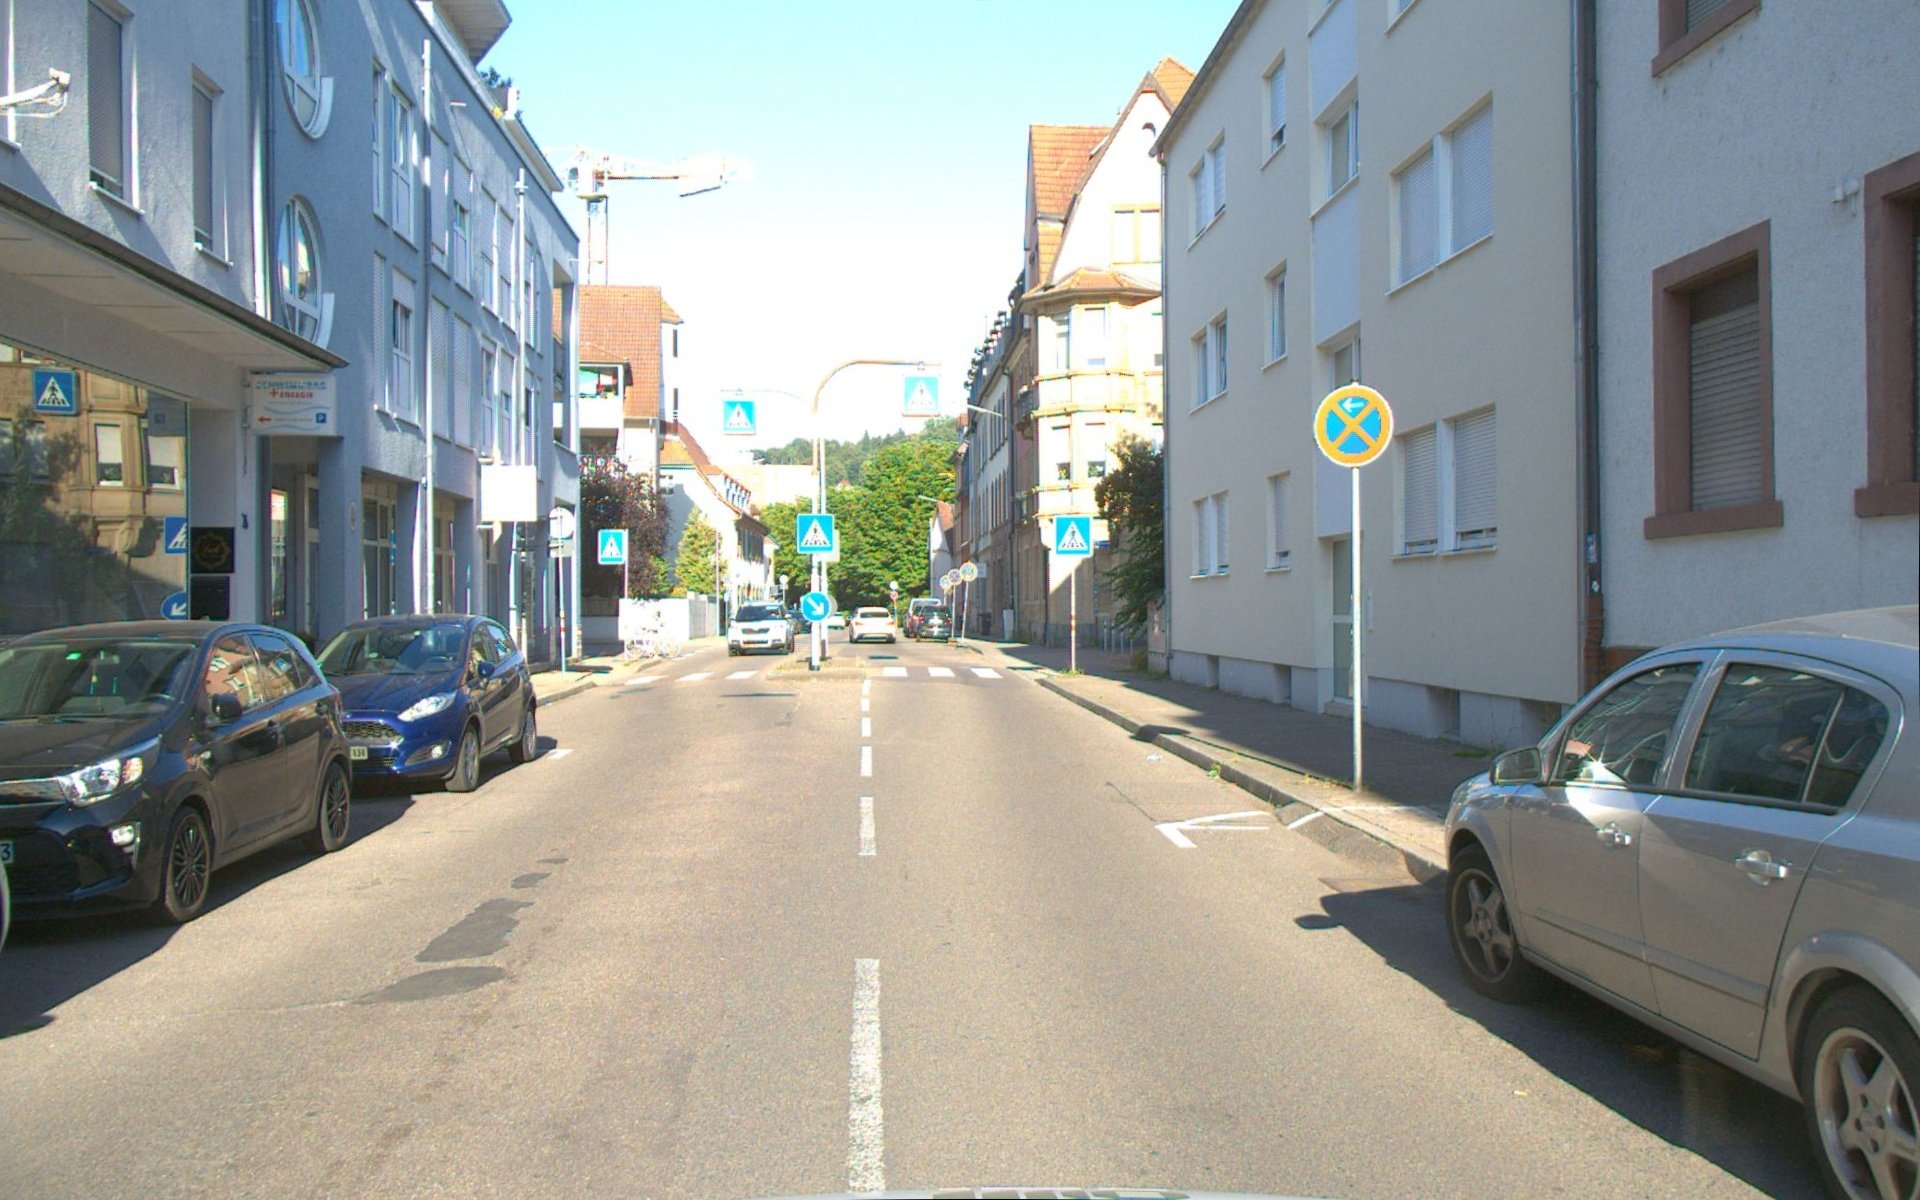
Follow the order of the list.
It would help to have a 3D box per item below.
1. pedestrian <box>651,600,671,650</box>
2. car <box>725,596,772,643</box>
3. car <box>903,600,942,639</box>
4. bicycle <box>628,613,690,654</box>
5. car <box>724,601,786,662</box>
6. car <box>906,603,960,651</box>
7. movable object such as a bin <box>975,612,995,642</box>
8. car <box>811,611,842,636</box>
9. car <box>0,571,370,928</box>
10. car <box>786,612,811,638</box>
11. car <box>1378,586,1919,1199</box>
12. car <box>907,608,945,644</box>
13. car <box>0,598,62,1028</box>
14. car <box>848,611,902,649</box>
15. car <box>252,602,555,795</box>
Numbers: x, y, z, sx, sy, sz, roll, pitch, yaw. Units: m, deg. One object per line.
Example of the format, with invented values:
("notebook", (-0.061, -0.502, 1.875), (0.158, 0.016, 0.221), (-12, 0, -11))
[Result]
("pedestrian", (-8.986, 0.748, 49.689), (0.546, 1.498, 0.600), (0, -1, -7))
("car", (-9.443, 0.869, 74.077), (1.955, 2.049, 3.995), (0, 0, -5))
("car", (-1.991, 0.970, 86.273), (1.805, 1.939, 3.996), (-1, 0, -5))
("bicycle", (-8.997, 1.004, 49.400), (1.751, 1.205, 0.598), (0, -1, -3))
("car", (-6.321, 0.944, 50.945), (1.773, 1.731, 4.185), (-2, 0, -7))
("car", (-1.167, 1.116, 70.018), (1.972, 1.885, 3.996), (1, 0, -5))
("movable object such as a bin", (1.226, 1.330, 80.899), (0.854, 1.402, 0.684), (-2, 0, -5))
("car", (-11.081, 1.962, 137.133), (1.960, 2.049, 3.985), (0, 0, -14))
("car", (-4.627, 0.662, 9.073), (1.627, 1.553, 3.805), (1, -1, -4))
("car", (-10.773, 1.662, 110.614), (1.599, 1.659, 3.171), (-1, 0, -5))
("car", (2.904, 0.723, 5.430), (1.706, 1.518, 4.436), (-2, 0, -3))
("car", (-1.659, 1.244, 81.364), (1.781, 1.659, 3.999), (-1, 0, -1))
("car", (-4.132, 0.779, 4.191), (1.730, 1.522, 4.121), (-2, 0, -5))
("car", (-3.471, 1.205, 66.981), (1.955, 1.492, 3.995), (0, -1, -6))
("car", (-4.941, 0.826, 15.233), (1.697, 1.526, 3.955), (0, -1, -4))
